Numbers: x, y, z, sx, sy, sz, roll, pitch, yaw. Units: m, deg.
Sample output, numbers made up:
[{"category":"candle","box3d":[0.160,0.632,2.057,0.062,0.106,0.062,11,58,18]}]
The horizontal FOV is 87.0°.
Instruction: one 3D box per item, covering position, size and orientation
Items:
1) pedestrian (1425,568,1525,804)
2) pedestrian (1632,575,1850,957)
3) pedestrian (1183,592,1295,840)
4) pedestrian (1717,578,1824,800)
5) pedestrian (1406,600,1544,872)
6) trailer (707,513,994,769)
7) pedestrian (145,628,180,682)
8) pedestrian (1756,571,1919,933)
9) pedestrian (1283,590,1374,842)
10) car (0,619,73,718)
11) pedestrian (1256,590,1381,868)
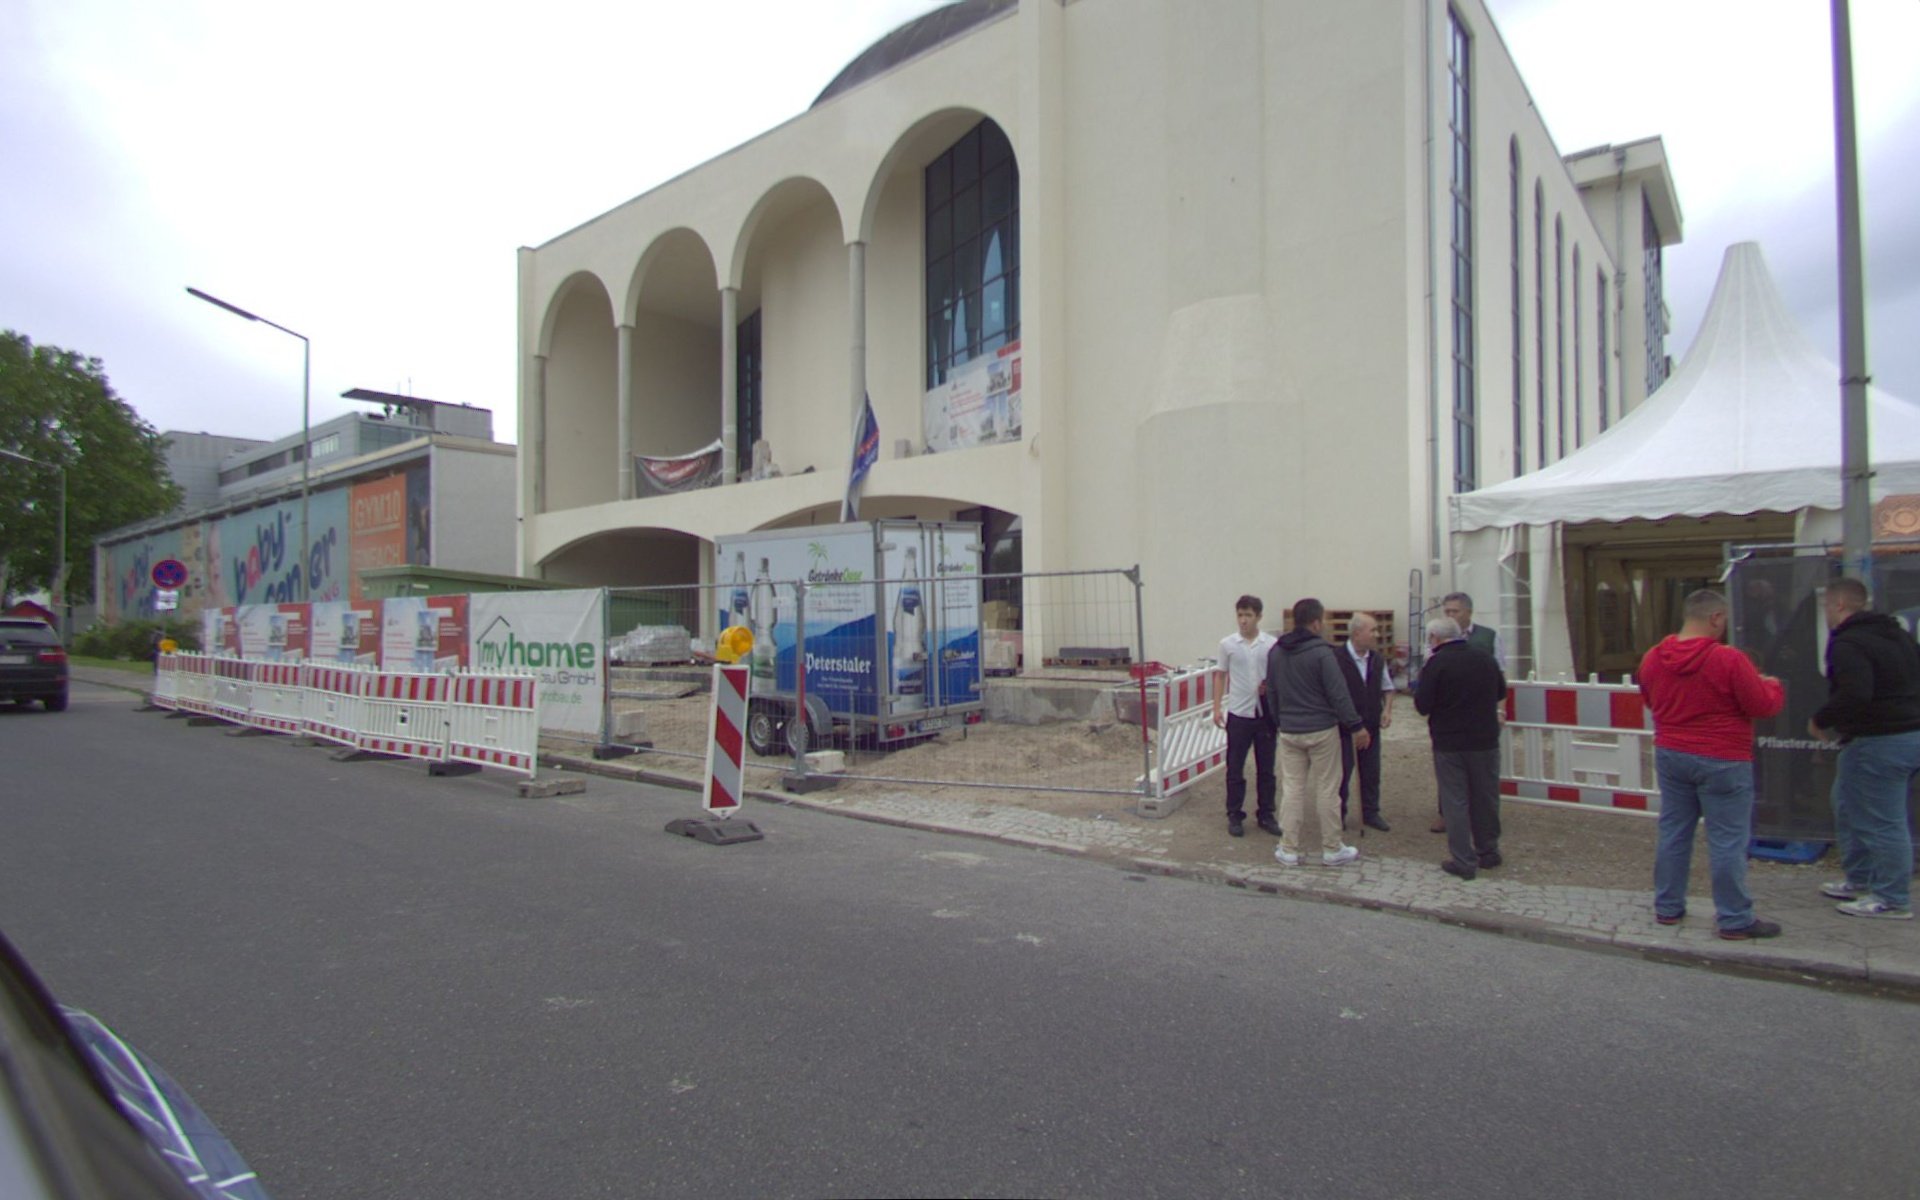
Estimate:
[{"category":"pedestrian","box3d":[3.672,0.591,7.250,0.486,1.624,0.539,-1,0,12]},{"category":"pedestrian","box3d":[3.924,0.780,5.122,0.403,1.768,0.723,0,-2,-24]},{"category":"pedestrian","box3d":[2.089,0.833,7.583,0.689,1.762,0.485,-1,-2,31]},{"category":"pedestrian","box3d":[6.271,0.671,7.840,0.415,1.648,0.474,1,-2,-26]},{"category":"pedestrian","box3d":[3.210,0.819,6.340,0.563,1.624,0.491,0,-2,-5]},{"category":"trailer","box3d":[-1.379,0.465,12.123,3.191,2.627,1.778,-2,-2,43]},{"category":"pedestrian","box3d":[-24.783,1.694,31.442,0.782,1.591,0.602,-1,0,-43]},{"category":"pedestrian","box3d":[4.838,0.731,5.281,0.685,1.730,0.688,-4,-1,-6]},{"category":"pedestrian","box3d":[2.722,0.822,7.466,0.526,1.762,0.485,-1,-2,31]},{"category":"car","box3d":[-18.172,1.214,18.703,4.650,1.674,1.939,-2,-4,40]},{"category":"pedestrian","box3d":[2.421,0.831,6.831,0.689,1.762,0.485,-1,-2,31]}]
